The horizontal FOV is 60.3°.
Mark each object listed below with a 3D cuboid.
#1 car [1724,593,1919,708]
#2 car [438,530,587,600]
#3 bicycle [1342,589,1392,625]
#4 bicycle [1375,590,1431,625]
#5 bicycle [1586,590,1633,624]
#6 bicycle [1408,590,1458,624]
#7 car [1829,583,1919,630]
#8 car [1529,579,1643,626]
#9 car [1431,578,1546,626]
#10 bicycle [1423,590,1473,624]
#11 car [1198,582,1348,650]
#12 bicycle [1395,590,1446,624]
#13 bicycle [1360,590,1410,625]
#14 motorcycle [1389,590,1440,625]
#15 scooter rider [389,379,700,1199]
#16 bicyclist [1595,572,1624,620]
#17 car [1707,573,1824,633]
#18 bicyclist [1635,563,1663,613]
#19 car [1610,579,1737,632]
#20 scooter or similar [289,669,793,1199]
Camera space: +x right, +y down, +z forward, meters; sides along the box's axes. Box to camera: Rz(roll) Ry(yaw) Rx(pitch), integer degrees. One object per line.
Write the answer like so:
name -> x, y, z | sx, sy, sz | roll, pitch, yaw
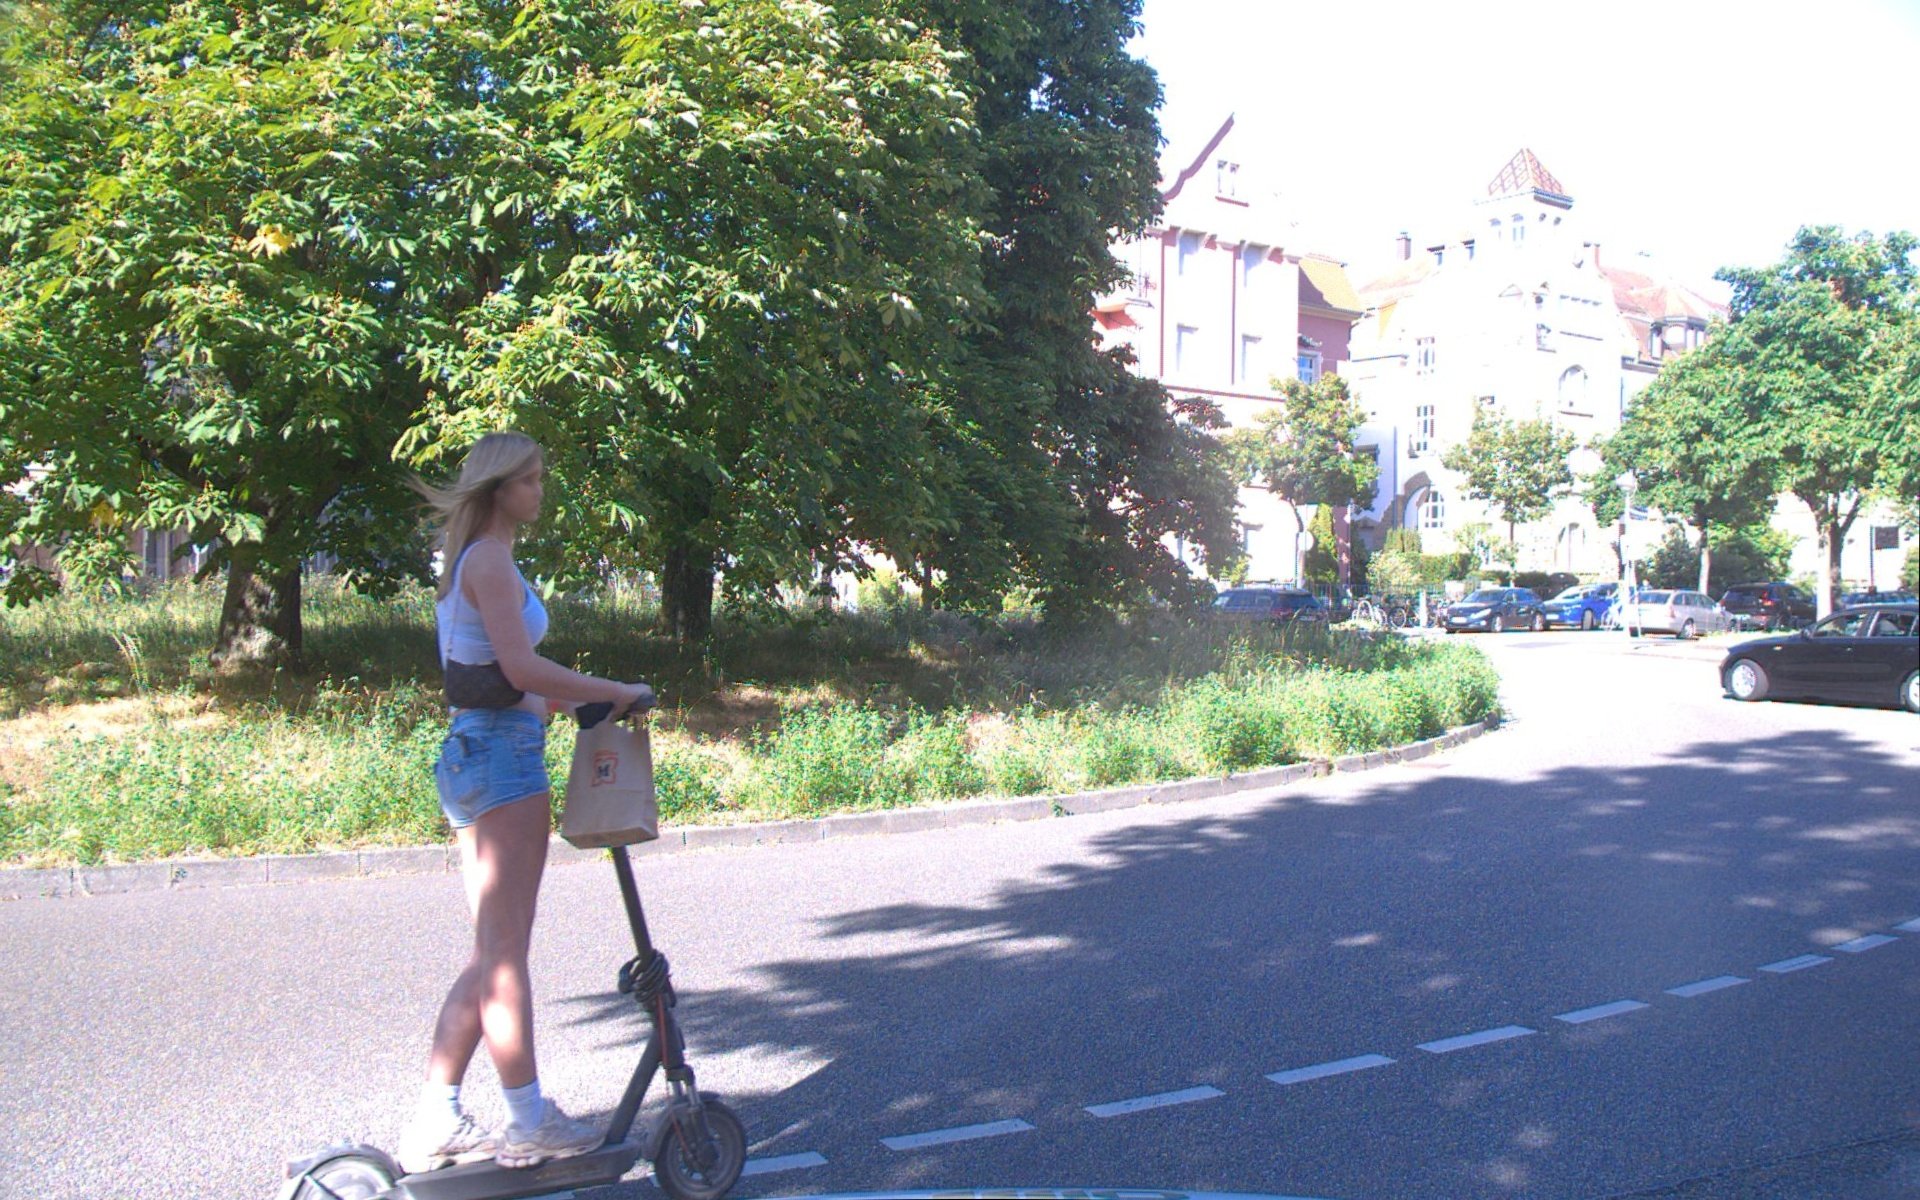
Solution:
car -> 12.828, 0.652, 22.713 | 1.844, 1.443, 3.963 | -1, 1, -28
car -> -18.139, -1.429, 66.933 | 6.241, 2.645, 2.098 | 2, 0, 32
bicycle -> 13.869, 0.222, 56.415 | 0.540, 1.134, 1.705 | 0, 2, -36
bicycle -> 15.362, 0.238, 57.411 | 1.794, 1.126, 0.499 | 3, 2, 38
bicycle -> 21.806, 0.243, 55.536 | 1.843, 1.127, 0.588 | 0, 0, -37
bicycle -> 16.807, 0.243, 58.767 | 0.496, 1.126, 1.702 | 0, 3, -40
car -> 31.301, 0.202, 55.751 | 4.287, 1.499, 1.788 | 0, 1, -35
car -> 22.296, 0.083, 58.864 | 4.354, 1.589, 1.785 | -1, -1, -38
car -> 17.732, 0.075, 55.434 | 4.303, 1.509, 1.781 | 0, -2, -43
bicycle -> 17.497, 0.232, 59.324 | 0.511, 1.126, 1.702 | 0, 3, -40
car -> 7.526, 0.346, 40.170 | 1.796, 1.559, 3.976 | 0, 1, -21
bicycle -> 16.212, 0.240, 58.268 | 0.497, 1.126, 1.699 | -1, 3, -43
bicycle -> 14.625, 0.239, 56.963 | 0.540, 1.134, 1.705 | 0, 2, -36
motorcycle -> 15.878, 0.252, 57.814 | 0.497, 1.126, 1.699 | -1, 3, -43
scooter rider -> -1.021, 0.449, 4.011 | 0.622, 1.864, 0.620 | 0, 1, -26
bicyclist -> 21.798, -0.137, 55.532 | 0.796, 1.609, 0.588 | 0, 0, -37
car -> 24.907, 0.078, 51.092 | 4.302, 1.758, 1.782 | 0, 1, -42
bicyclist -> 24.158, -0.401, 58.001 | 0.715, 1.744, 0.637 | 1, -1, -37
car -> 20.812, 0.149, 48.159 | 4.302, 1.440, 1.782 | 0, 1, -42
scooter or similar -> -1.025, 0.847, 4.020 | 1.089, 1.305, 0.627 | 0, 1, -26
